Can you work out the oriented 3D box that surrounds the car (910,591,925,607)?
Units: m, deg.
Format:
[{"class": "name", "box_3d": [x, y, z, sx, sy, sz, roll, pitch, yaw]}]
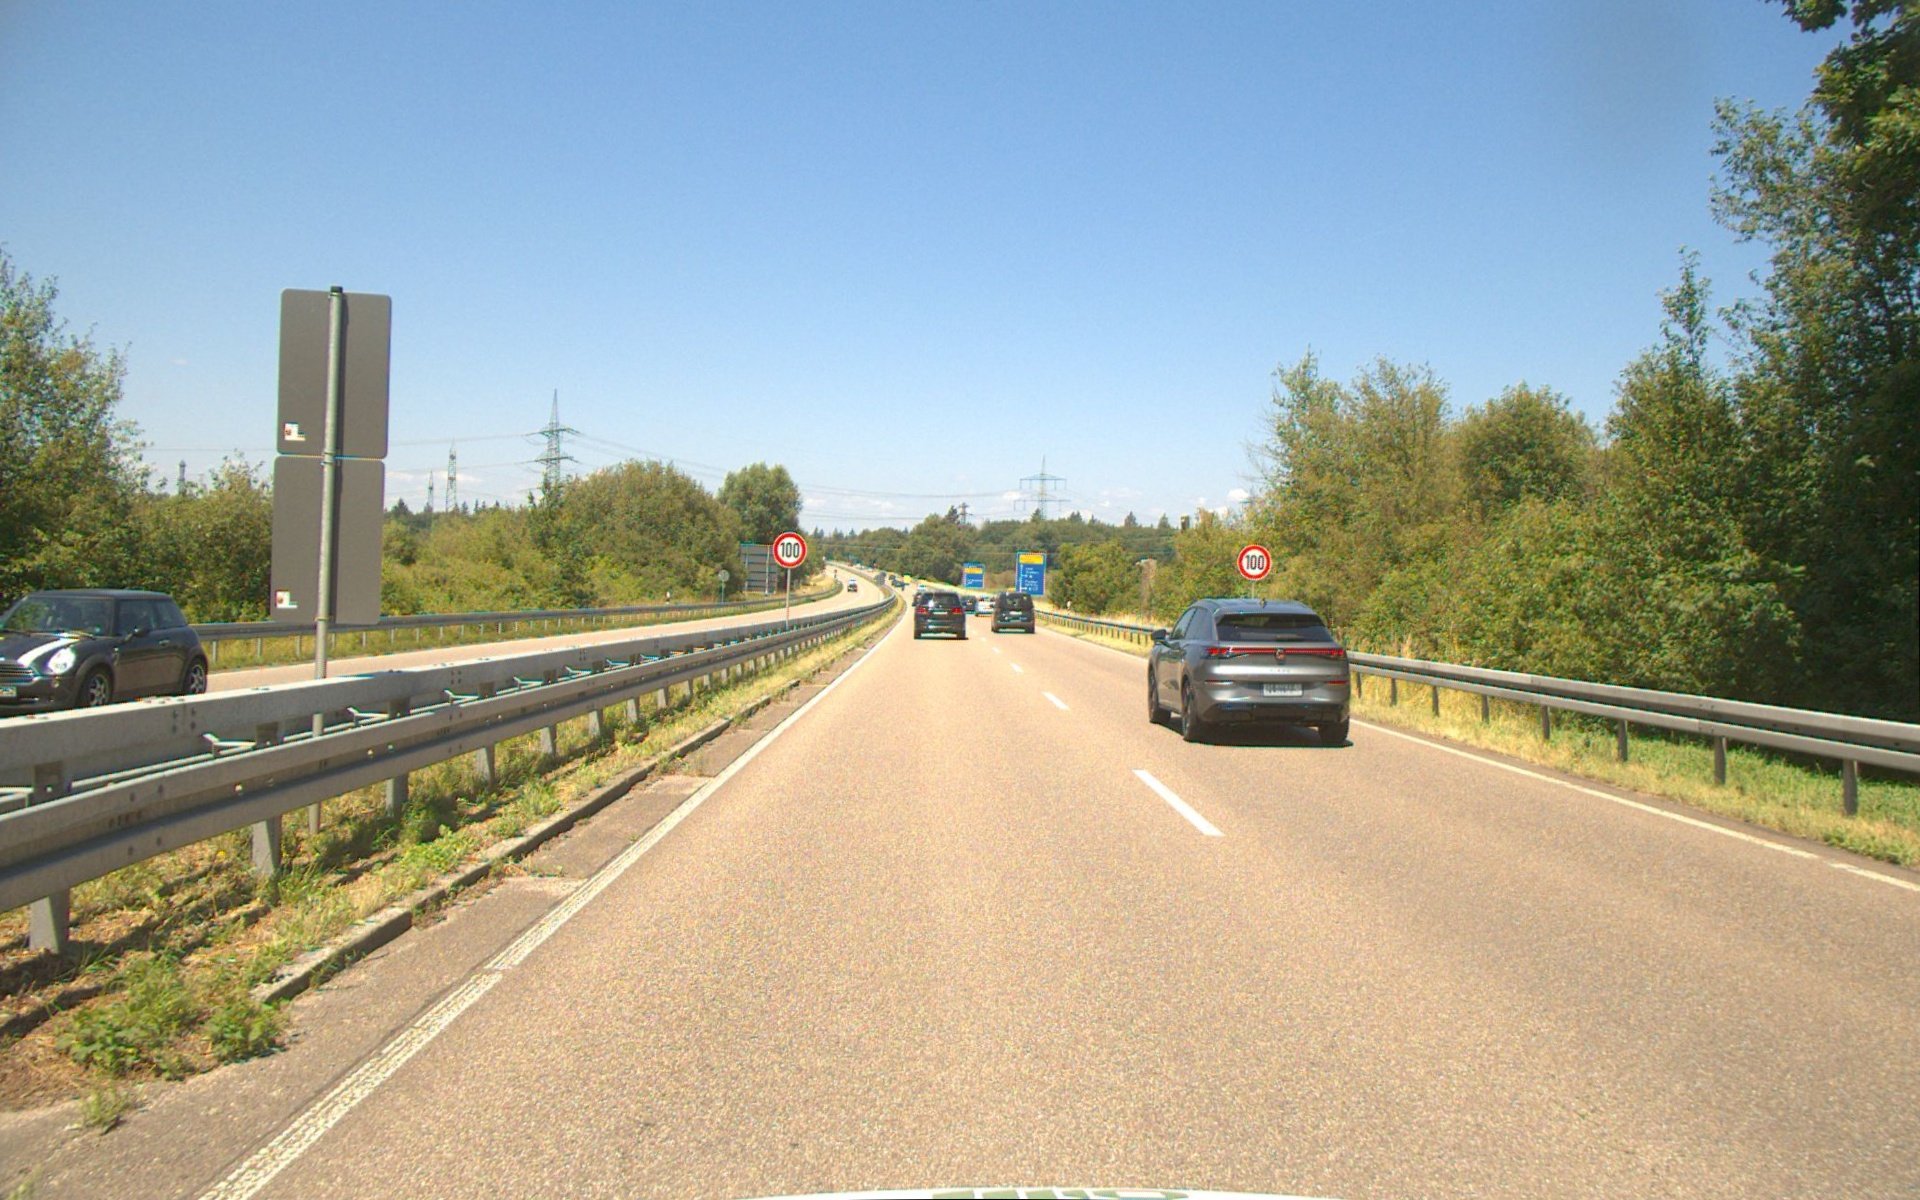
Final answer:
[{"class": "car", "box_3d": [-4.550, -0.134, 177.299, 1.485, 1.500, 3.065, 4, 1, -3]}]

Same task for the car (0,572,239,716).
[{"class": "car", "box_3d": [-10.157, 0.448, 19.365, 1.761, 1.493, 3.773, 1, 0, 0]}]

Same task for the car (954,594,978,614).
[{"class": "car", "box_3d": [0.469, 0.312, 132.438, 1.783, 1.439, 3.999, 1, 1, -2]}]

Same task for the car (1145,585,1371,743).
[{"class": "car", "box_3d": [3.313, 0.647, 19.123, 1.749, 1.580, 4.018, 0, 1, -2]}]

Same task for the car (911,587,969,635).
[{"class": "car", "box_3d": [-0.776, 0.382, 61.114, 1.954, 1.683, 3.998, 1, 0, -3]}]

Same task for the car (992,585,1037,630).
[{"class": "car", "box_3d": [2.417, 0.303, 73.852, 1.744, 1.848, 4.212, 1, 1, -1]}]

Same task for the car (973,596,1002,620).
[{"class": "car", "box_3d": [1.934, 0.559, 118.028, 1.744, 1.505, 4.313, 4, 0, -3]}]
